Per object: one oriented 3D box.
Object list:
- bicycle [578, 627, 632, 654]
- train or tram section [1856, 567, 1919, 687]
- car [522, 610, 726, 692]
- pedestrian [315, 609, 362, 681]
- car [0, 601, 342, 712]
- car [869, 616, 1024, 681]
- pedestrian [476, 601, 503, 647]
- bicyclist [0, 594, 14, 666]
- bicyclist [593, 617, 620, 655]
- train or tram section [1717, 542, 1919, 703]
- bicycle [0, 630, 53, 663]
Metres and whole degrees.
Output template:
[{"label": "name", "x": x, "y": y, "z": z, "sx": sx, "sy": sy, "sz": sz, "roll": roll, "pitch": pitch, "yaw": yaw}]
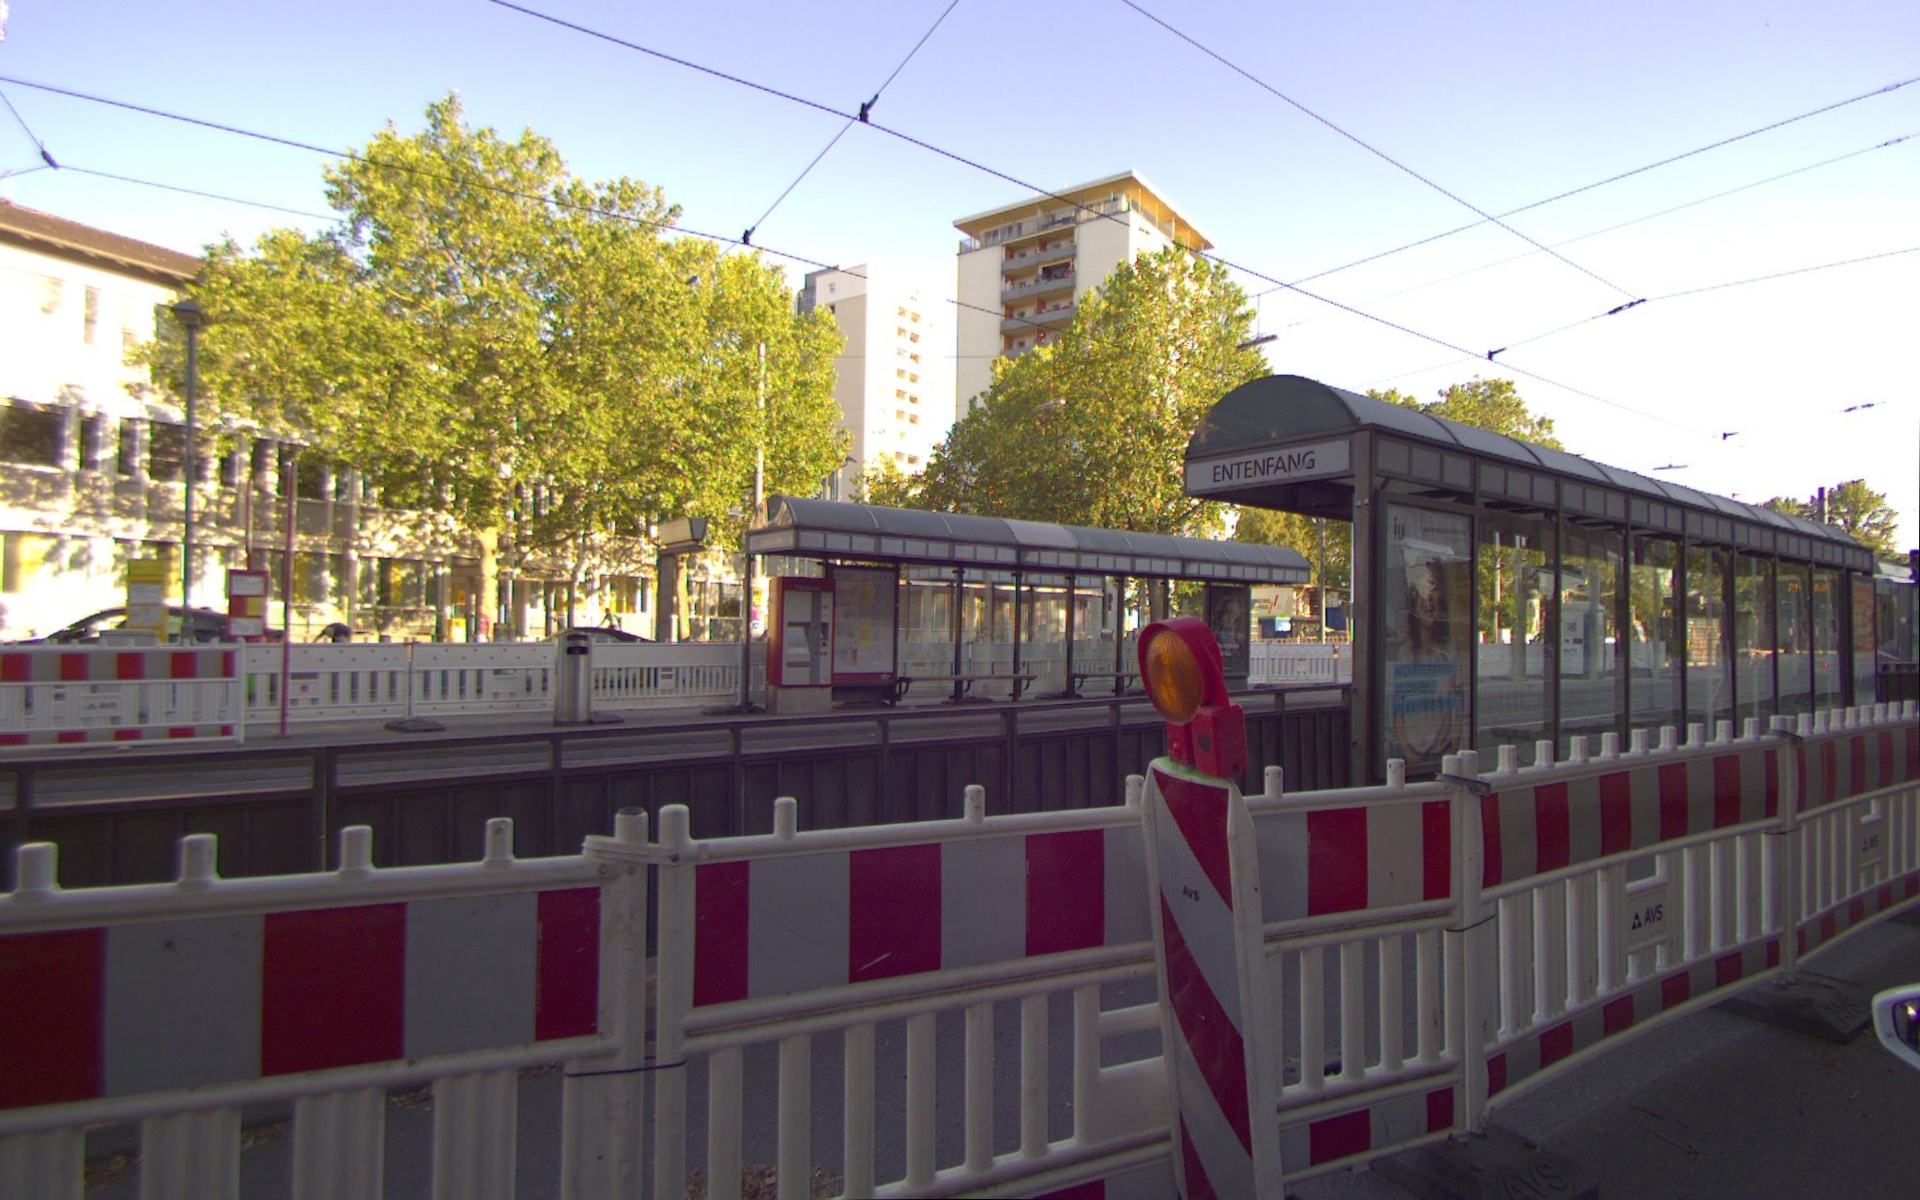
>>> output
[{"label": "bicycle", "x": -14.600, "y": 1.662, "z": 41.413, "sx": 0.666, "sy": 1.045, "sz": 2.186, "roll": 0, "pitch": -2, "yaw": 29}, {"label": "train or tram section", "x": 33.319, "y": 0.971, "z": 33.763, "sx": 11.477, "sy": 3.606, "sz": 2.666, "roll": 2, "pitch": 0, "yaw": -38}, {"label": "car", "x": -7.466, "y": 1.111, "z": 22.410, "sx": 3.958, "sy": 1.683, "sz": 1.982, "roll": 2, "pitch": -2, "yaw": -34}, {"label": "pedestrian", "x": -16.553, "y": 1.191, "z": 26.756, "sx": 0.921, "sy": 1.858, "sz": 0.691, "roll": 2, "pitch": -2, "yaw": -43}, {"label": "car", "x": -13.300, "y": 0.932, "z": 17.237, "sx": 4.511, "sy": 1.683, "sz": 1.982, "roll": 2, "pitch": -2, "yaw": -34}, {"label": "car", "x": -0.346, "y": 1.341, "z": 28.122, "sx": 3.959, "sy": 1.683, "sz": 1.901, "roll": 2, "pitch": -2, "yaw": -35}, {"label": "pedestrian", "x": -15.114, "y": 0.769, "z": 32.264, "sx": 0.578, "sy": 1.474, "sz": 0.582, "roll": 0, "pitch": -2, "yaw": 42}, {"label": "bicyclist", "x": -23.833, "y": 0.727, "z": 24.630, "sx": 0.662, "sy": 1.750, "sz": 0.763, "roll": 0, "pitch": -1, "yaw": 32}, {"label": "bicyclist", "x": -14.581, "y": 1.486, "z": 41.432, "sx": 0.566, "sy": 1.547, "sz": 0.844, "roll": 0, "pitch": -1, "yaw": 30}, {"label": "train or tram section", "x": 24.026, "y": 0.645, "z": 26.842, "sx": 11.657, "sy": 3.580, "sz": 2.668, "roll": 2, "pitch": 0, "yaw": -36}, {"label": "bicycle", "x": -23.763, "y": 1.139, "z": 24.760, "sx": 0.669, "sy": 0.792, "sz": 1.986, "roll": 0, "pitch": -2, "yaw": 32}]
